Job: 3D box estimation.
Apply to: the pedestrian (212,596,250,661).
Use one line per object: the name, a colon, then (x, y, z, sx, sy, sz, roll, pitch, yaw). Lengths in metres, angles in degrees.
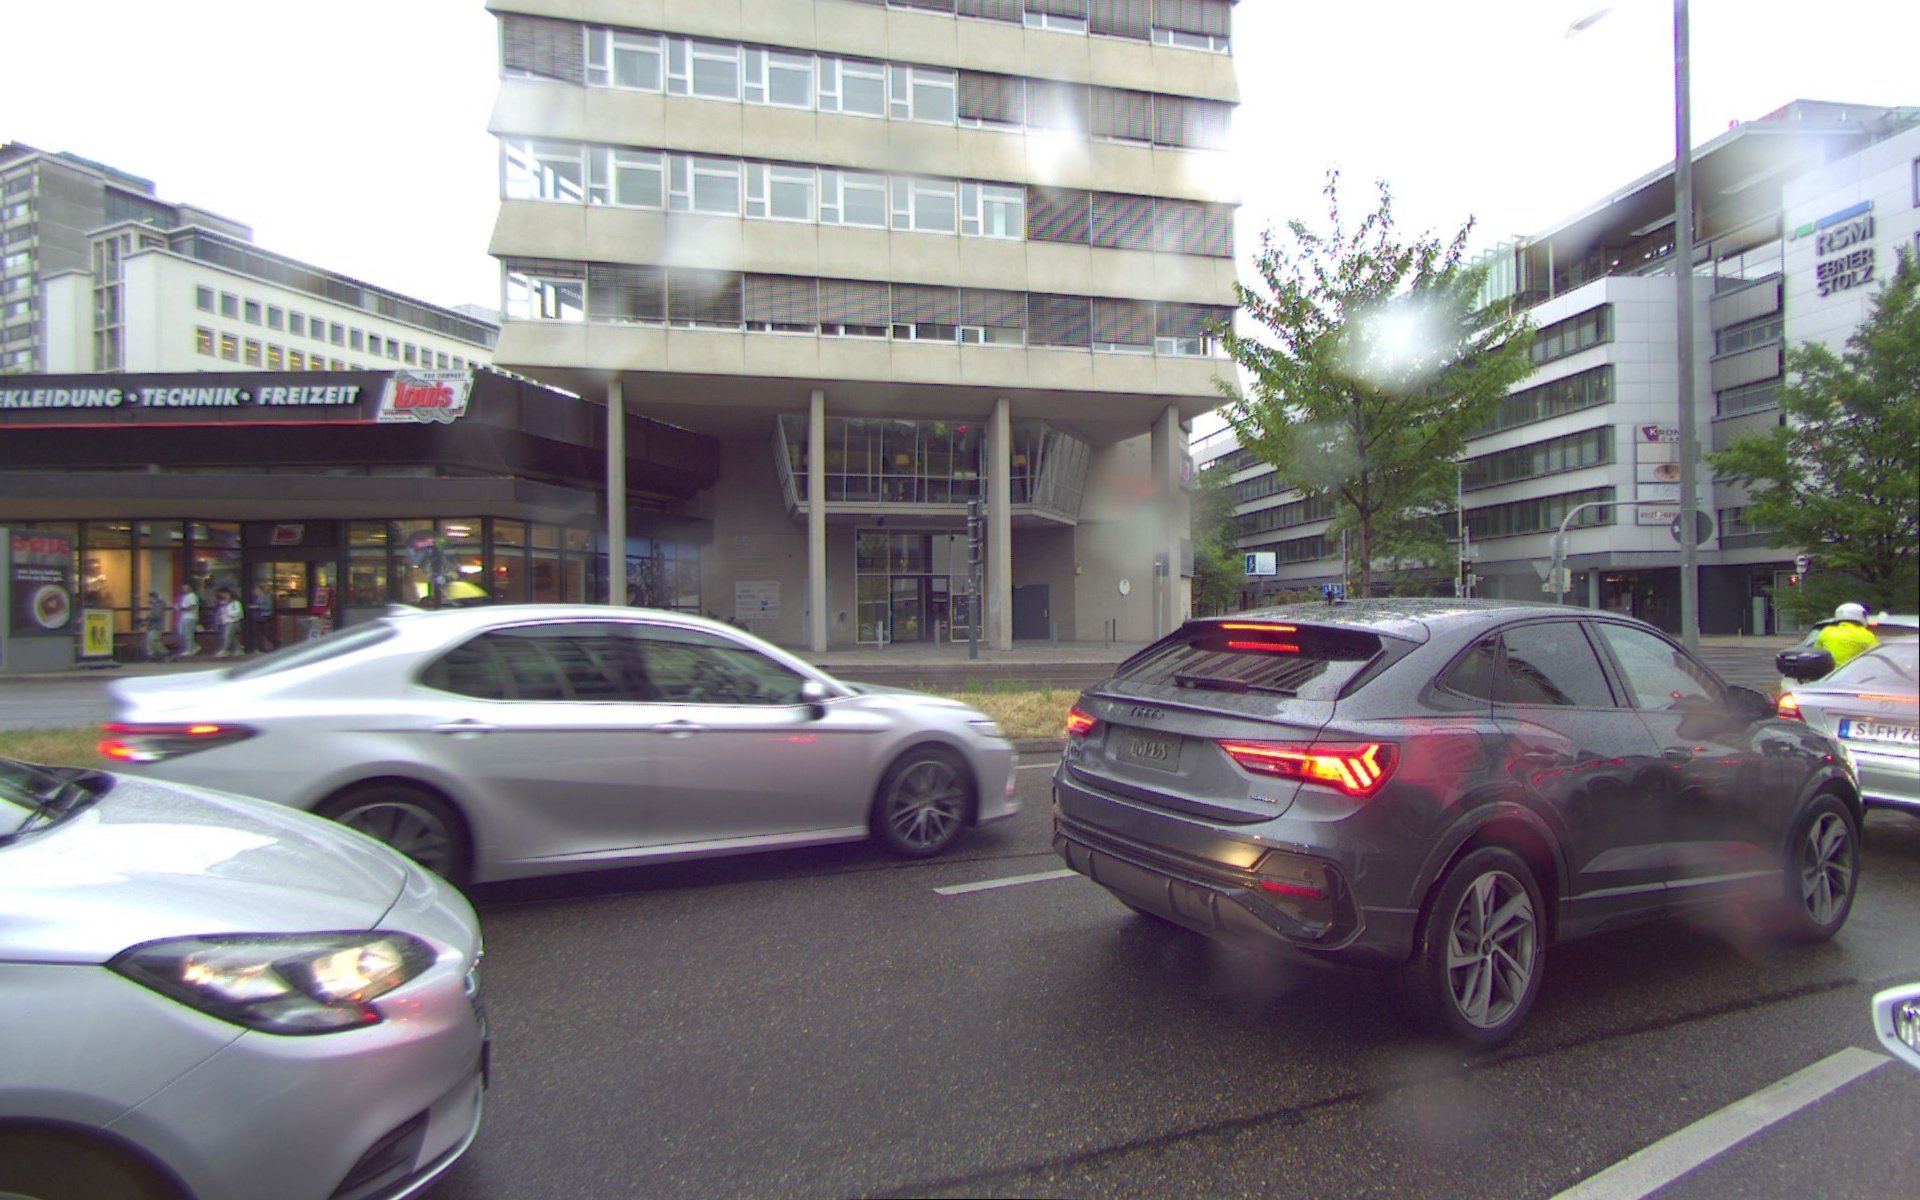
pedestrian: (-17.932, 0.696, 24.721, 0.548, 1.591, 0.541, 1, 0, -9)

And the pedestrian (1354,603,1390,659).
pedestrian: (12.622, 0.947, 30.761, 0.751, 1.706, 0.677, 1, 0, -16)

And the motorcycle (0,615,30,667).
motorcycle: (-23.532, 0.986, 24.193, 0.353, 1.249, 1.669, 1, 0, 20)

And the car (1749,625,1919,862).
car: (7.707, 0.950, 7.086, 4.050, 1.426, 1.567, 2, 0, -22)

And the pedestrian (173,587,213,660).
pedestrian: (-19.018, 0.576, 24.906, 0.548, 1.767, 0.614, 1, 0, -9)

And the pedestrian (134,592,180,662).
pedestrian: (-18.973, 0.640, 23.734, 0.601, 1.633, 0.614, 1, 0, -9)

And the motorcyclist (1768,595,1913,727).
motorcyclist: (9.826, 0.666, 11.224, 1.102, 1.398, 0.769, 2, 0, -21)

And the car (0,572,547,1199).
car: (-2.877, 0.661, 1.696, 3.831, 1.455, 1.639, 1, 0, -32)

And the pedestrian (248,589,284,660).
pedestrian: (-17.688, 0.620, 25.620, 0.548, 1.767, 0.541, 1, 0, -9)

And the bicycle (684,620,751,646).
bicycle: (-8.219, 1.125, 34.143, 2.165, 0.871, 0.456, 2, 0, -31)

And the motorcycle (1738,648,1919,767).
motorcycle: (9.768, 1.164, 11.198, 1.998, 1.200, 0.799, 2, 0, -21)

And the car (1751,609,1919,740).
car: (12.630, 0.933, 13.210, 3.940, 1.506, 1.704, 2, 0, -21)

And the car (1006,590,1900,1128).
car: (2.433, 0.766, 4.651, 4.220, 1.542, 1.640, 1, 0, -30)

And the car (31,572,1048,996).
car: (-1.923, 0.700, 5.769, 4.726, 1.554, 1.854, 1, 0, -33)

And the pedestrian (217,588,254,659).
pedestrian: (-18.458, 0.596, 25.592, 0.548, 1.767, 0.541, 1, 0, -9)
